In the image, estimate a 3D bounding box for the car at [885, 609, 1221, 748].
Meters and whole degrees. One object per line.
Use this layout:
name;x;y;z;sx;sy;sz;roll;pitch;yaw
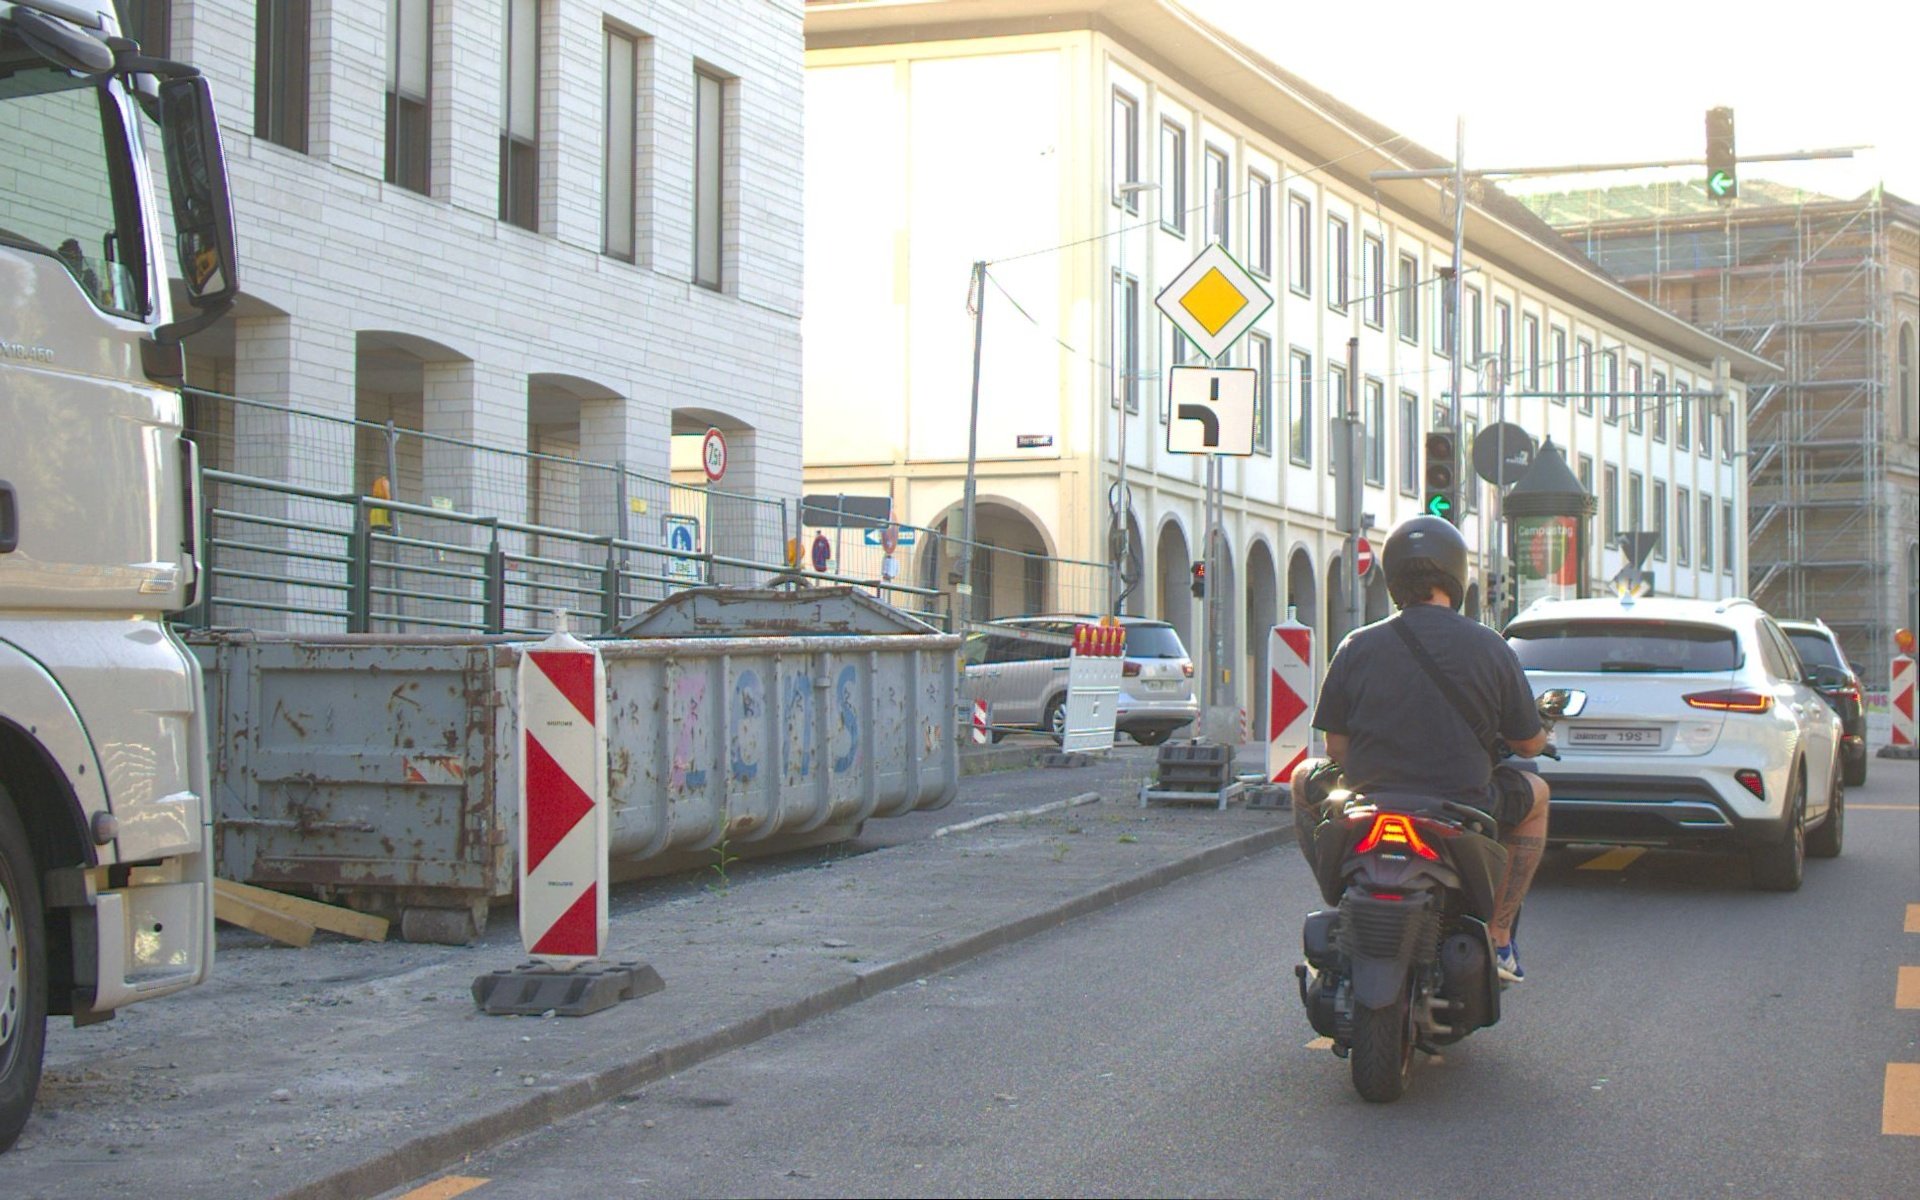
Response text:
car;1.200;0.994;45.268;4.158;1.715;1.805;0;1;38

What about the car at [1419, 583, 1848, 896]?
car;3.763;0.702;18.679;1.861;1.467;3.996;1;-1;17

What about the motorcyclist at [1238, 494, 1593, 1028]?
motorcyclist;1.445;0.470;10.723;0.954;1.554;1.238;0;0;14

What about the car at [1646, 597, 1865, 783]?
car;7.143;0.810;30.757;1.775;1.545;4.103;-1;-2;14

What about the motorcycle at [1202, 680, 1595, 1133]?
motorcycle;1.436;0.867;10.746;0.906;1.179;2.577;0;0;14

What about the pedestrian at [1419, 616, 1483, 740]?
pedestrian;7.237;1.149;50.656;0.774;1.796;0.710;-1;0;20

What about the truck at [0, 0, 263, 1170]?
truck;-4.077;-0.273;7.126;2.581;3.478;5.811;-4;-1;16
